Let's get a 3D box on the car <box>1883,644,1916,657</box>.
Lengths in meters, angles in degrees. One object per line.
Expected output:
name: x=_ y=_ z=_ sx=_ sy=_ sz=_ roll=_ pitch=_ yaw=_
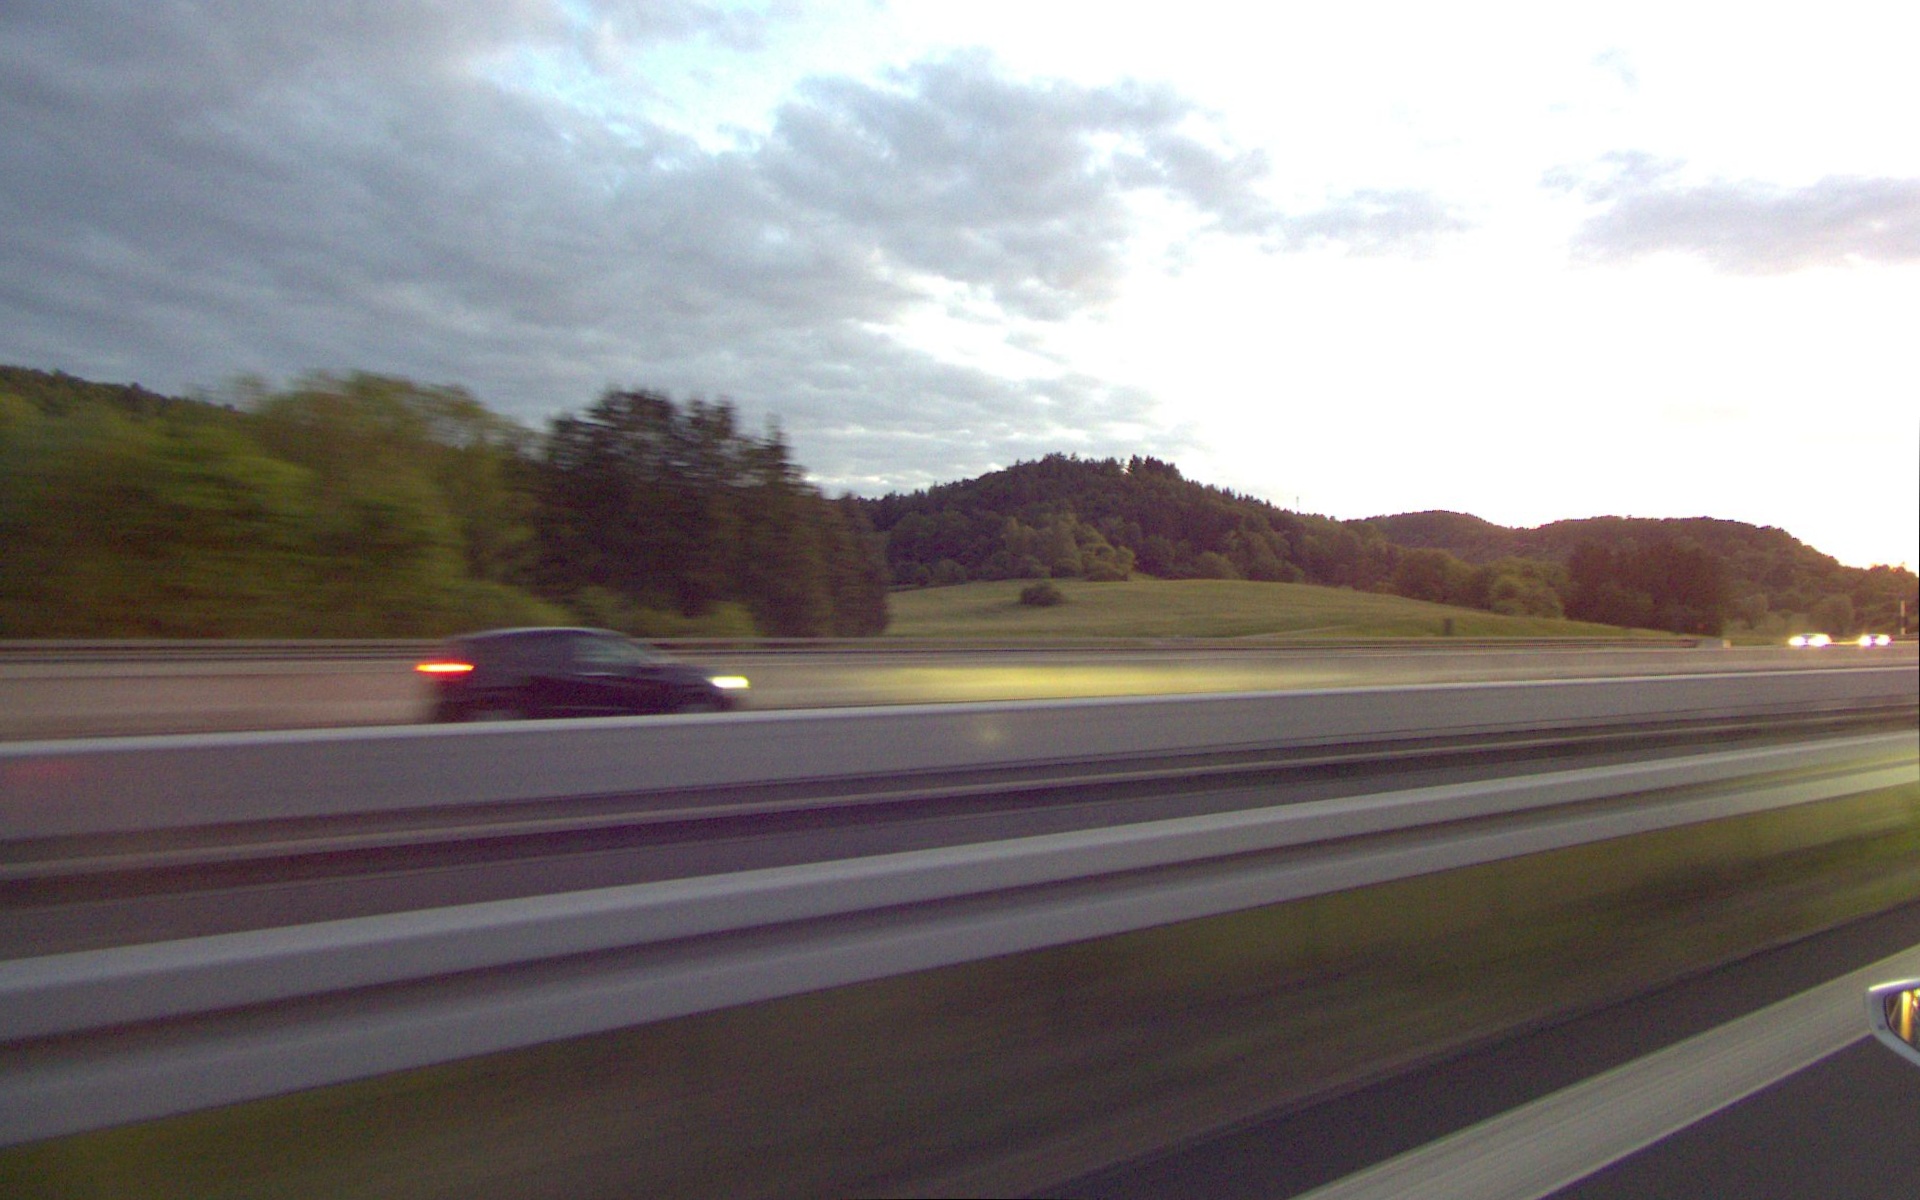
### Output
car: x=102.624 y=5.483 z=109.692 sx=3.850 sy=1.336 sz=1.758 roll=2 pitch=-2 yaw=-32

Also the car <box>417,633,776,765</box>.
car: x=-5.033 y=1.282 z=14.054 sx=4.466 sy=1.582 sz=1.863 roll=2 pitch=-2 yaw=-30
